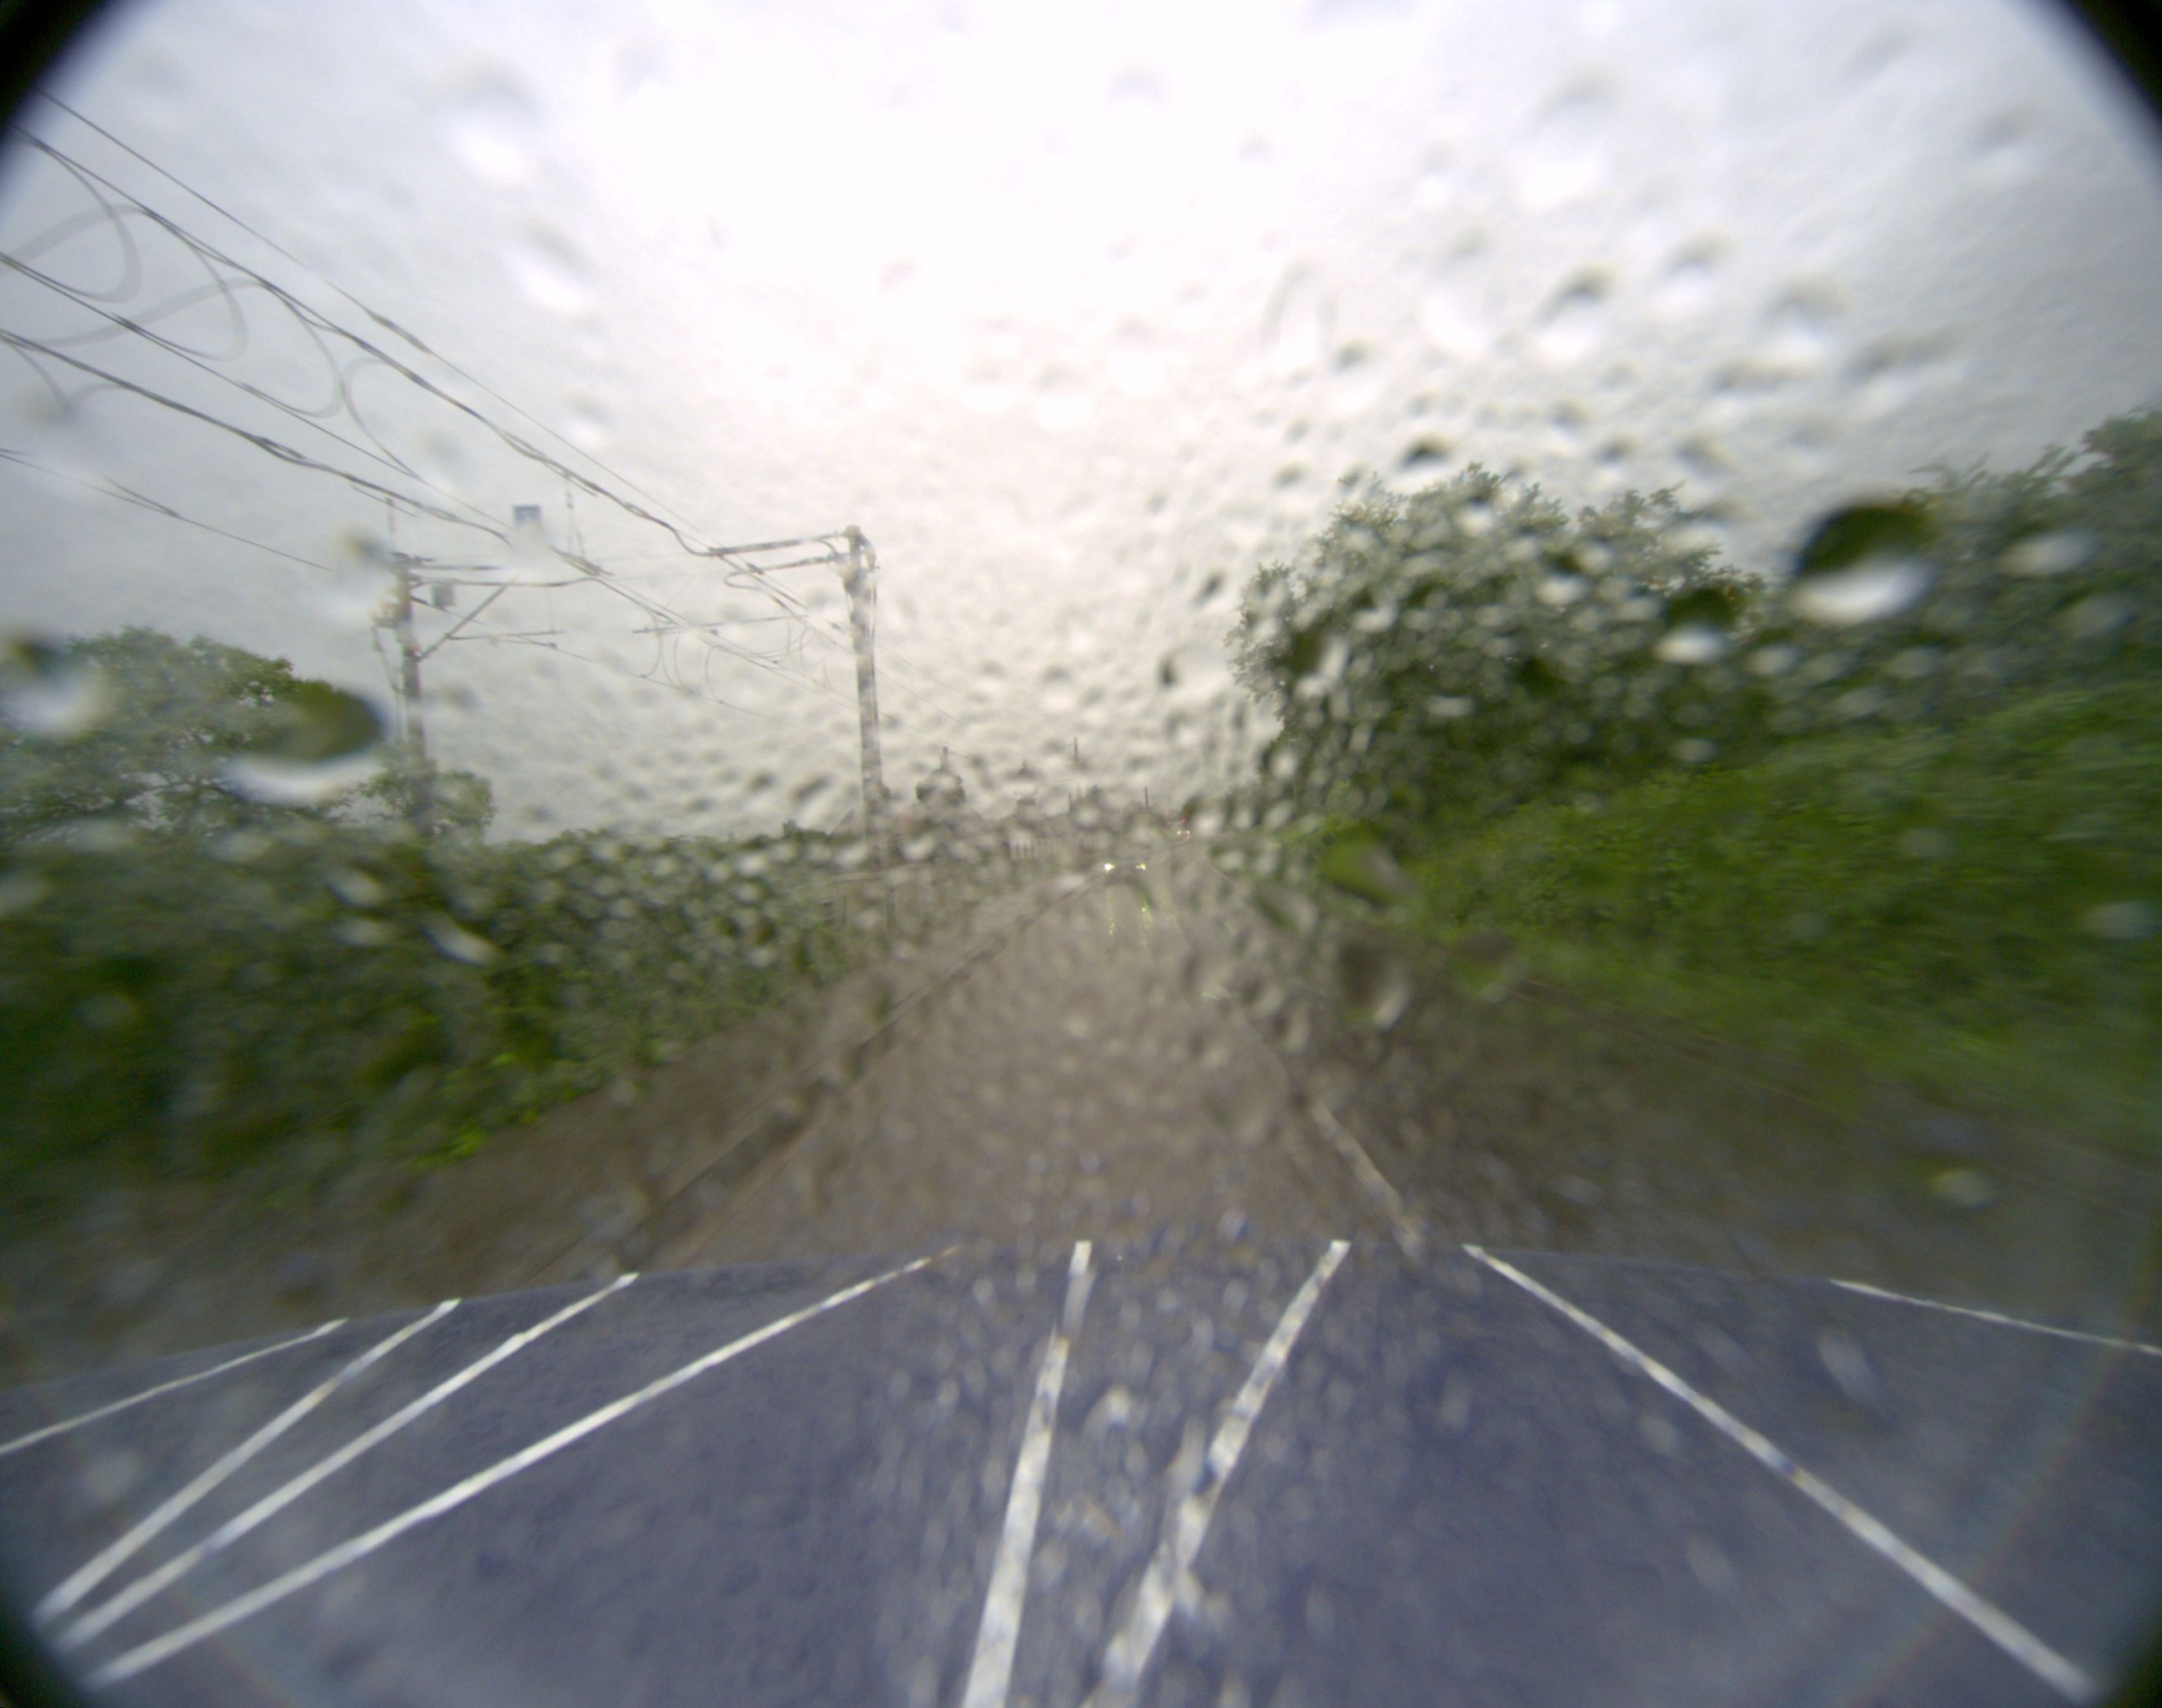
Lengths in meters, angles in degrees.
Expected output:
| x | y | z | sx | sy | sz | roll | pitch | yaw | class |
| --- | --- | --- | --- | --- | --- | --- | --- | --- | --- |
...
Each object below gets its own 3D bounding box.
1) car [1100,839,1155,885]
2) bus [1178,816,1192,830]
| x | y | z | sx | sy | sz | roll | pitch | yaw | class |
| --- | --- | --- | --- | --- | --- | --- | --- | --- | --- |
| 2.054 | 0.294 | 32.747 | 1.997 | 1.623 | 4.000 | -4 | 3 | 7 | car |
| 25.100 | -7.569 | 183.624 | 2.675 | 3.060 | 9.993 | -4 | 3 | 6 | bus |
